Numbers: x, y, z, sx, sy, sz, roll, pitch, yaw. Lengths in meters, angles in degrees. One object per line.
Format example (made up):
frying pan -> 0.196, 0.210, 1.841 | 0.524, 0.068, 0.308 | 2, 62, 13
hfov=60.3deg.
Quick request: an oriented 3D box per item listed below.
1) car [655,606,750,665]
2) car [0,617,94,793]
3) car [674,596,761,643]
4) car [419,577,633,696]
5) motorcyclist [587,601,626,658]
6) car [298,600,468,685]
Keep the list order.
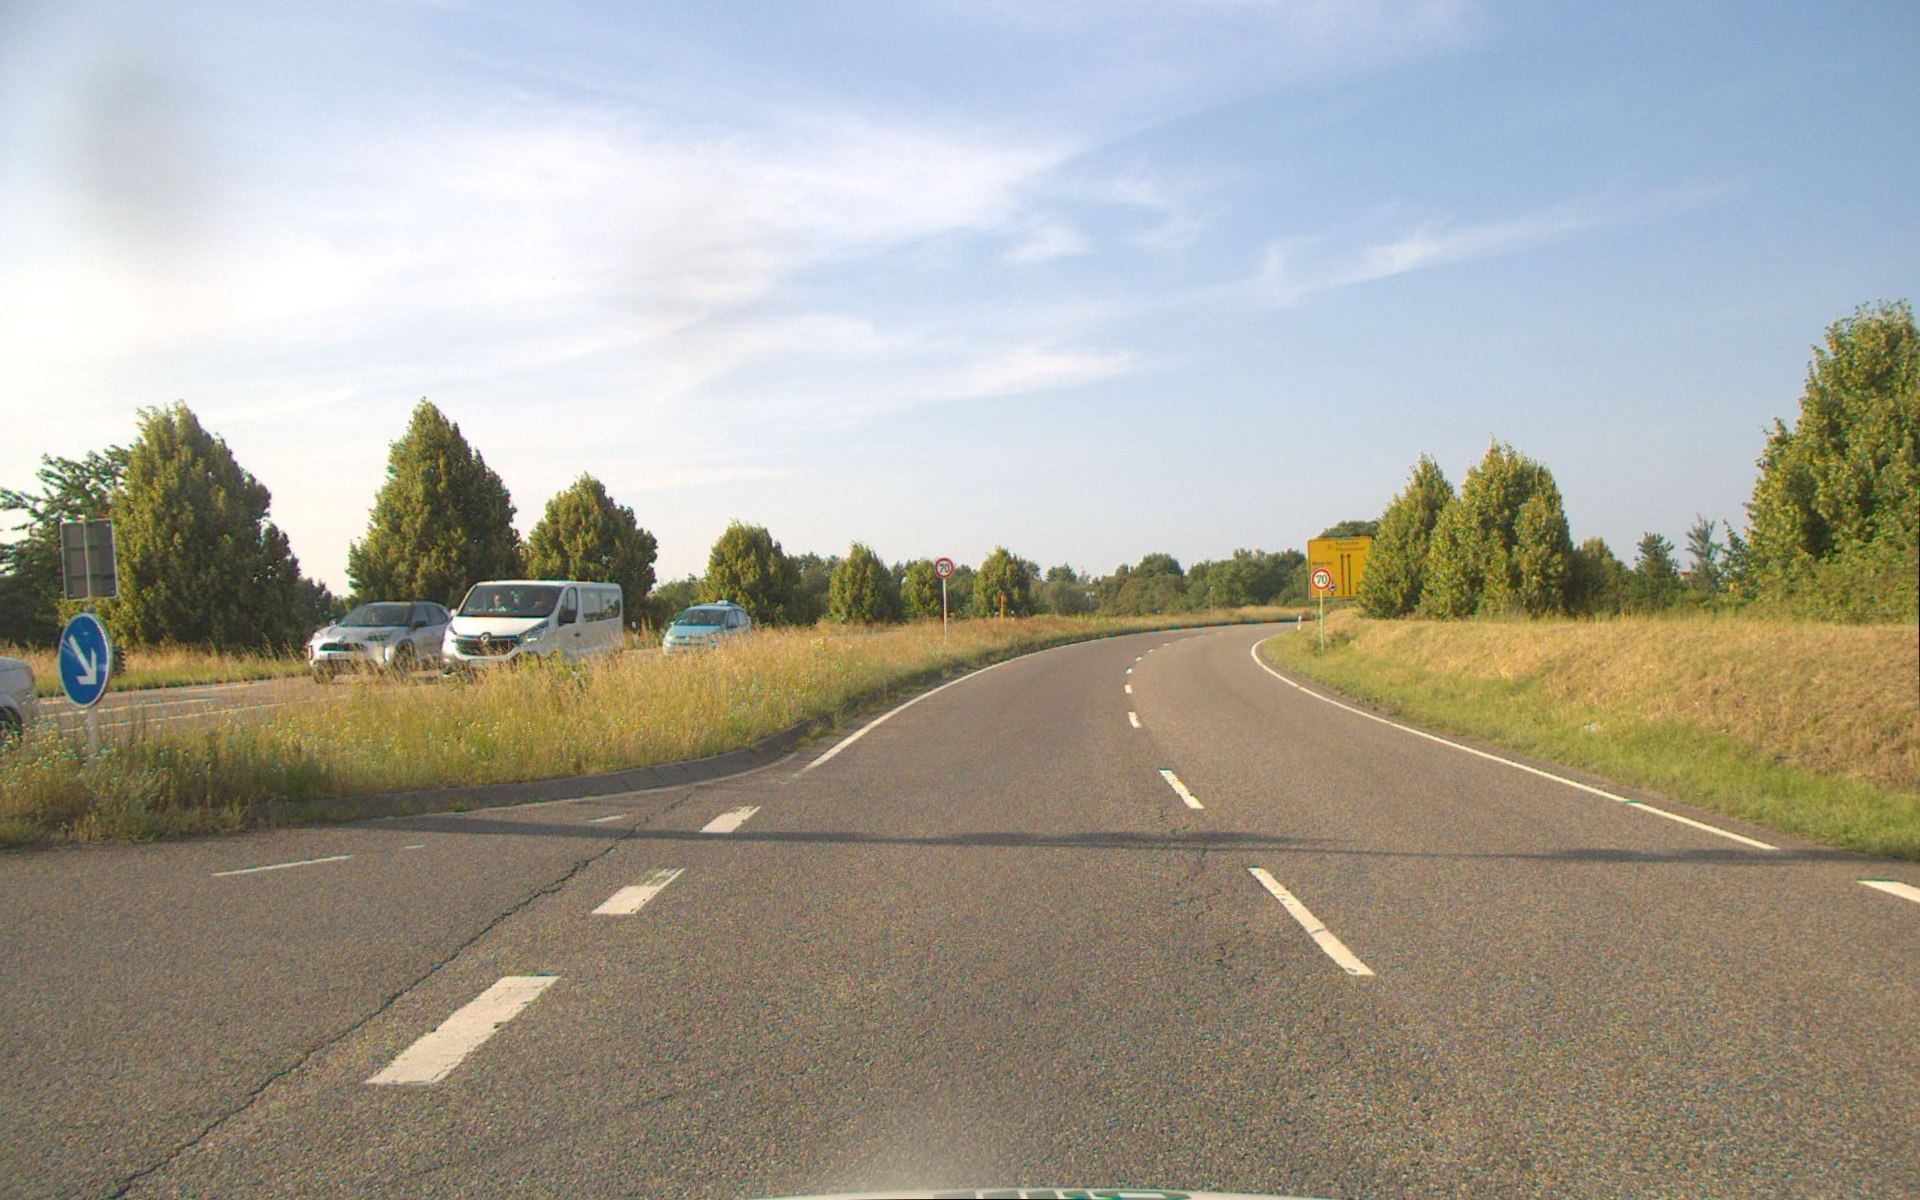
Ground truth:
car -> -6.673, 0.906, 43.168 | 1.643, 1.469, 3.754 | 0, 0, 4
car -> -8.429, 0.825, 12.007 | 1.658, 1.377, 4.455 | 0, 0, 5
car -> -8.551, 0.682, 58.770 | 1.872, 1.593, 4.614 | 0, 0, 7
car -> -7.680, 0.616, 29.977 | 1.951, 1.937, 5.792 | 0, 0, 5
motorcyclist -> -10.357, 0.851, 48.490 | 0.736, 1.632, 1.250 | 0, -1, 8
car -> -11.224, 0.793, 32.464 | 1.670, 1.552, 4.136 | 0, 0, 3
